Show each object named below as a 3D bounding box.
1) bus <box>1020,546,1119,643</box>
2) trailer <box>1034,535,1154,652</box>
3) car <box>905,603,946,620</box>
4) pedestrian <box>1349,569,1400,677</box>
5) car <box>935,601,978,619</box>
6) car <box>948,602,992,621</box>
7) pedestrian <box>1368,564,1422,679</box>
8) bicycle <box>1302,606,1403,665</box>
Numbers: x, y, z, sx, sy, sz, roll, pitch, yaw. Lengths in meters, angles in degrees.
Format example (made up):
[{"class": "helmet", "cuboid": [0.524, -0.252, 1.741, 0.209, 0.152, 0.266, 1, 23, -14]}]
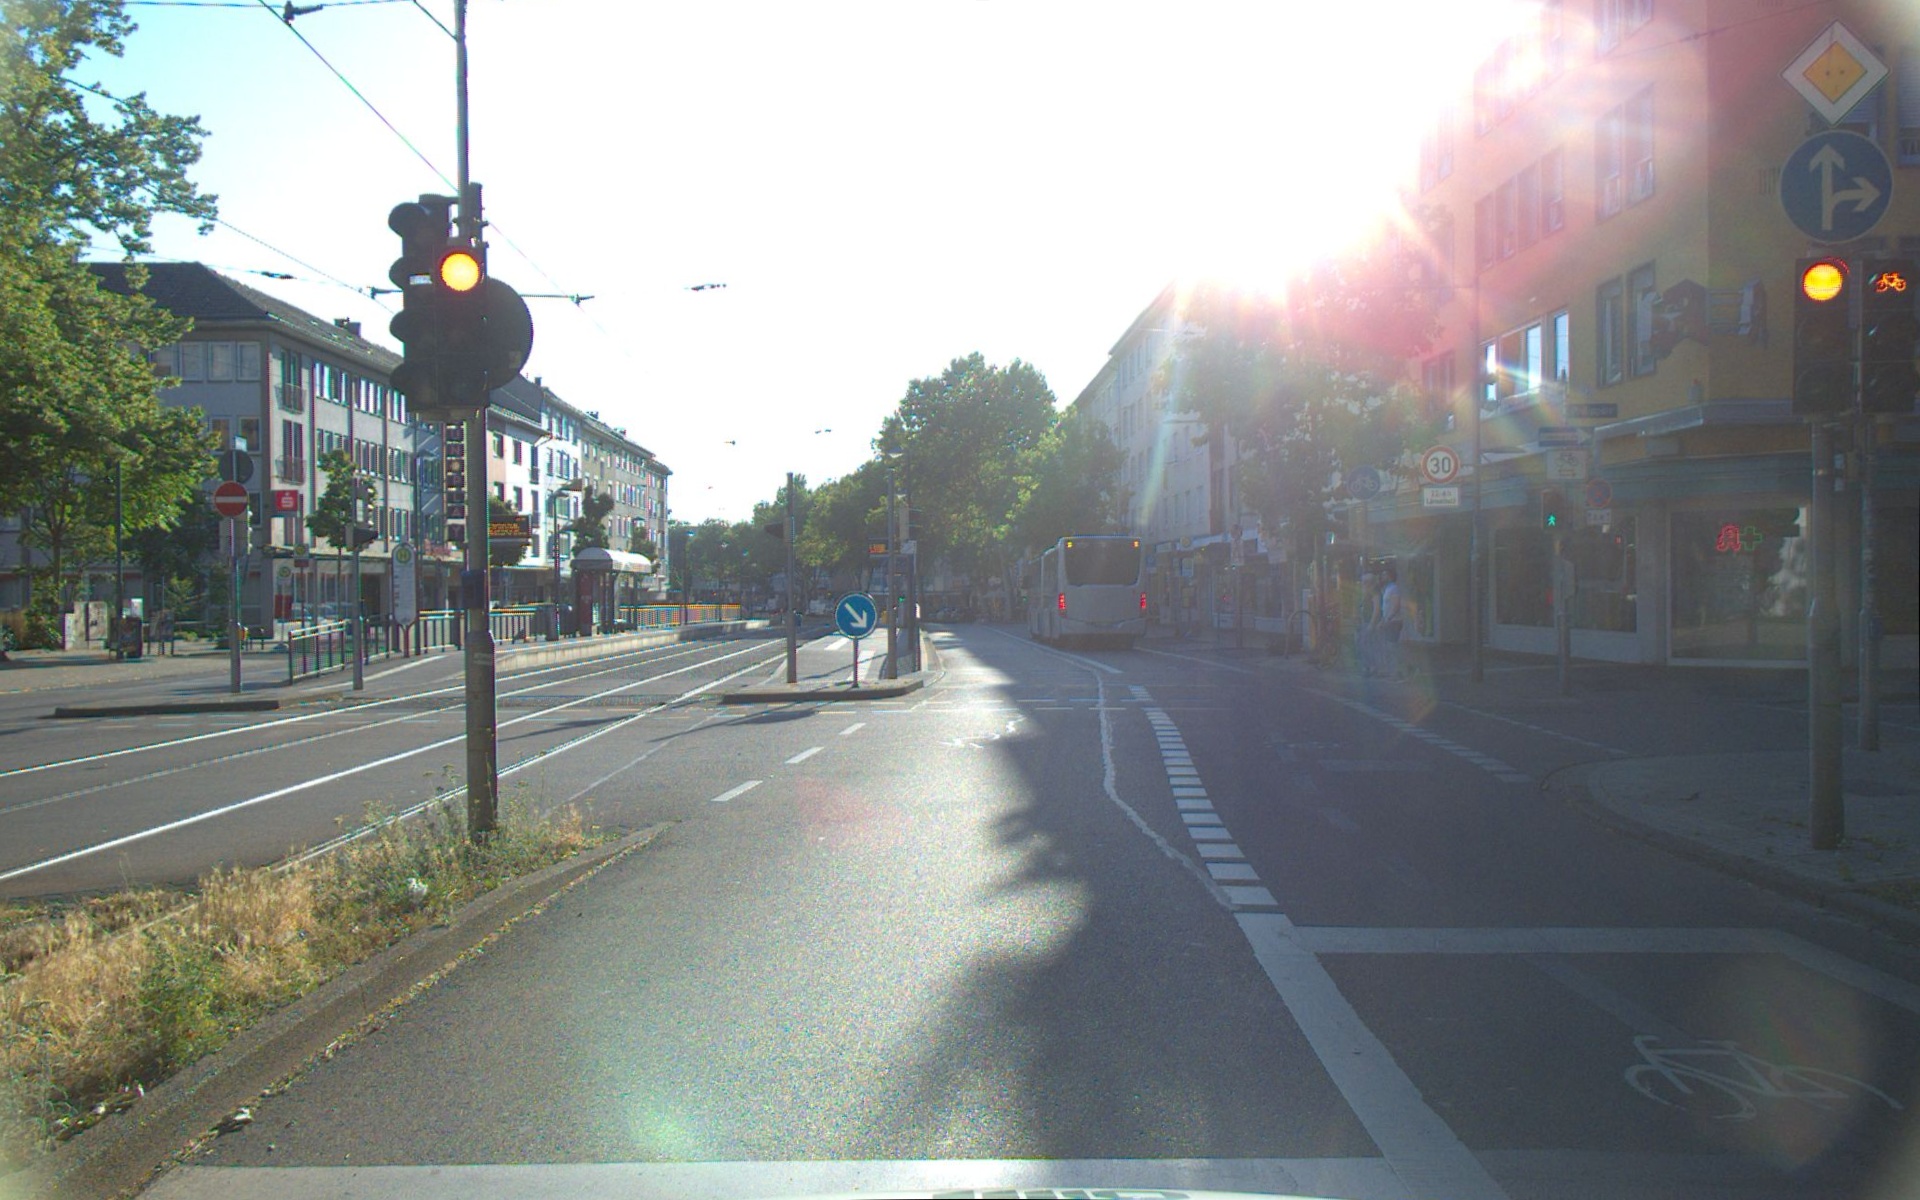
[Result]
[{"class": "bus", "cuboid": [3.780, -0.184, 59.137, 2.755, 3.156, 9.092, 1, 0, -1]}, {"class": "trailer", "cuboid": [3.903, -0.187, 50.194, 2.755, 3.165, 8.792, 1, 0, -1]}, {"class": "car", "cuboid": [-3.455, 1.191, 166.604, 3.848, 1.624, 1.674, -1, 0, -30]}, {"class": "pedestrian", "cuboid": [7.030, 0.376, 28.048, 0.666, 1.801, 0.687, -1, 0, 0]}, {"class": "car", "cuboid": [-0.357, 0.976, 161.590, 3.848, 1.729, 1.815, -1, 0, -30]}, {"class": "car", "cuboid": [0.954, 1.070, 158.685, 3.848, 1.729, 1.815, -1, 0, -30]}, {"class": "pedestrian", "cuboid": [6.938, 0.329, 26.397, 0.666, 1.801, 0.687, -1, 0, 0]}, {"class": "bicycle", "cuboid": [7.487, 0.674, 31.594, 1.737, 1.039, 0.694, -2, 0, -2]}]
